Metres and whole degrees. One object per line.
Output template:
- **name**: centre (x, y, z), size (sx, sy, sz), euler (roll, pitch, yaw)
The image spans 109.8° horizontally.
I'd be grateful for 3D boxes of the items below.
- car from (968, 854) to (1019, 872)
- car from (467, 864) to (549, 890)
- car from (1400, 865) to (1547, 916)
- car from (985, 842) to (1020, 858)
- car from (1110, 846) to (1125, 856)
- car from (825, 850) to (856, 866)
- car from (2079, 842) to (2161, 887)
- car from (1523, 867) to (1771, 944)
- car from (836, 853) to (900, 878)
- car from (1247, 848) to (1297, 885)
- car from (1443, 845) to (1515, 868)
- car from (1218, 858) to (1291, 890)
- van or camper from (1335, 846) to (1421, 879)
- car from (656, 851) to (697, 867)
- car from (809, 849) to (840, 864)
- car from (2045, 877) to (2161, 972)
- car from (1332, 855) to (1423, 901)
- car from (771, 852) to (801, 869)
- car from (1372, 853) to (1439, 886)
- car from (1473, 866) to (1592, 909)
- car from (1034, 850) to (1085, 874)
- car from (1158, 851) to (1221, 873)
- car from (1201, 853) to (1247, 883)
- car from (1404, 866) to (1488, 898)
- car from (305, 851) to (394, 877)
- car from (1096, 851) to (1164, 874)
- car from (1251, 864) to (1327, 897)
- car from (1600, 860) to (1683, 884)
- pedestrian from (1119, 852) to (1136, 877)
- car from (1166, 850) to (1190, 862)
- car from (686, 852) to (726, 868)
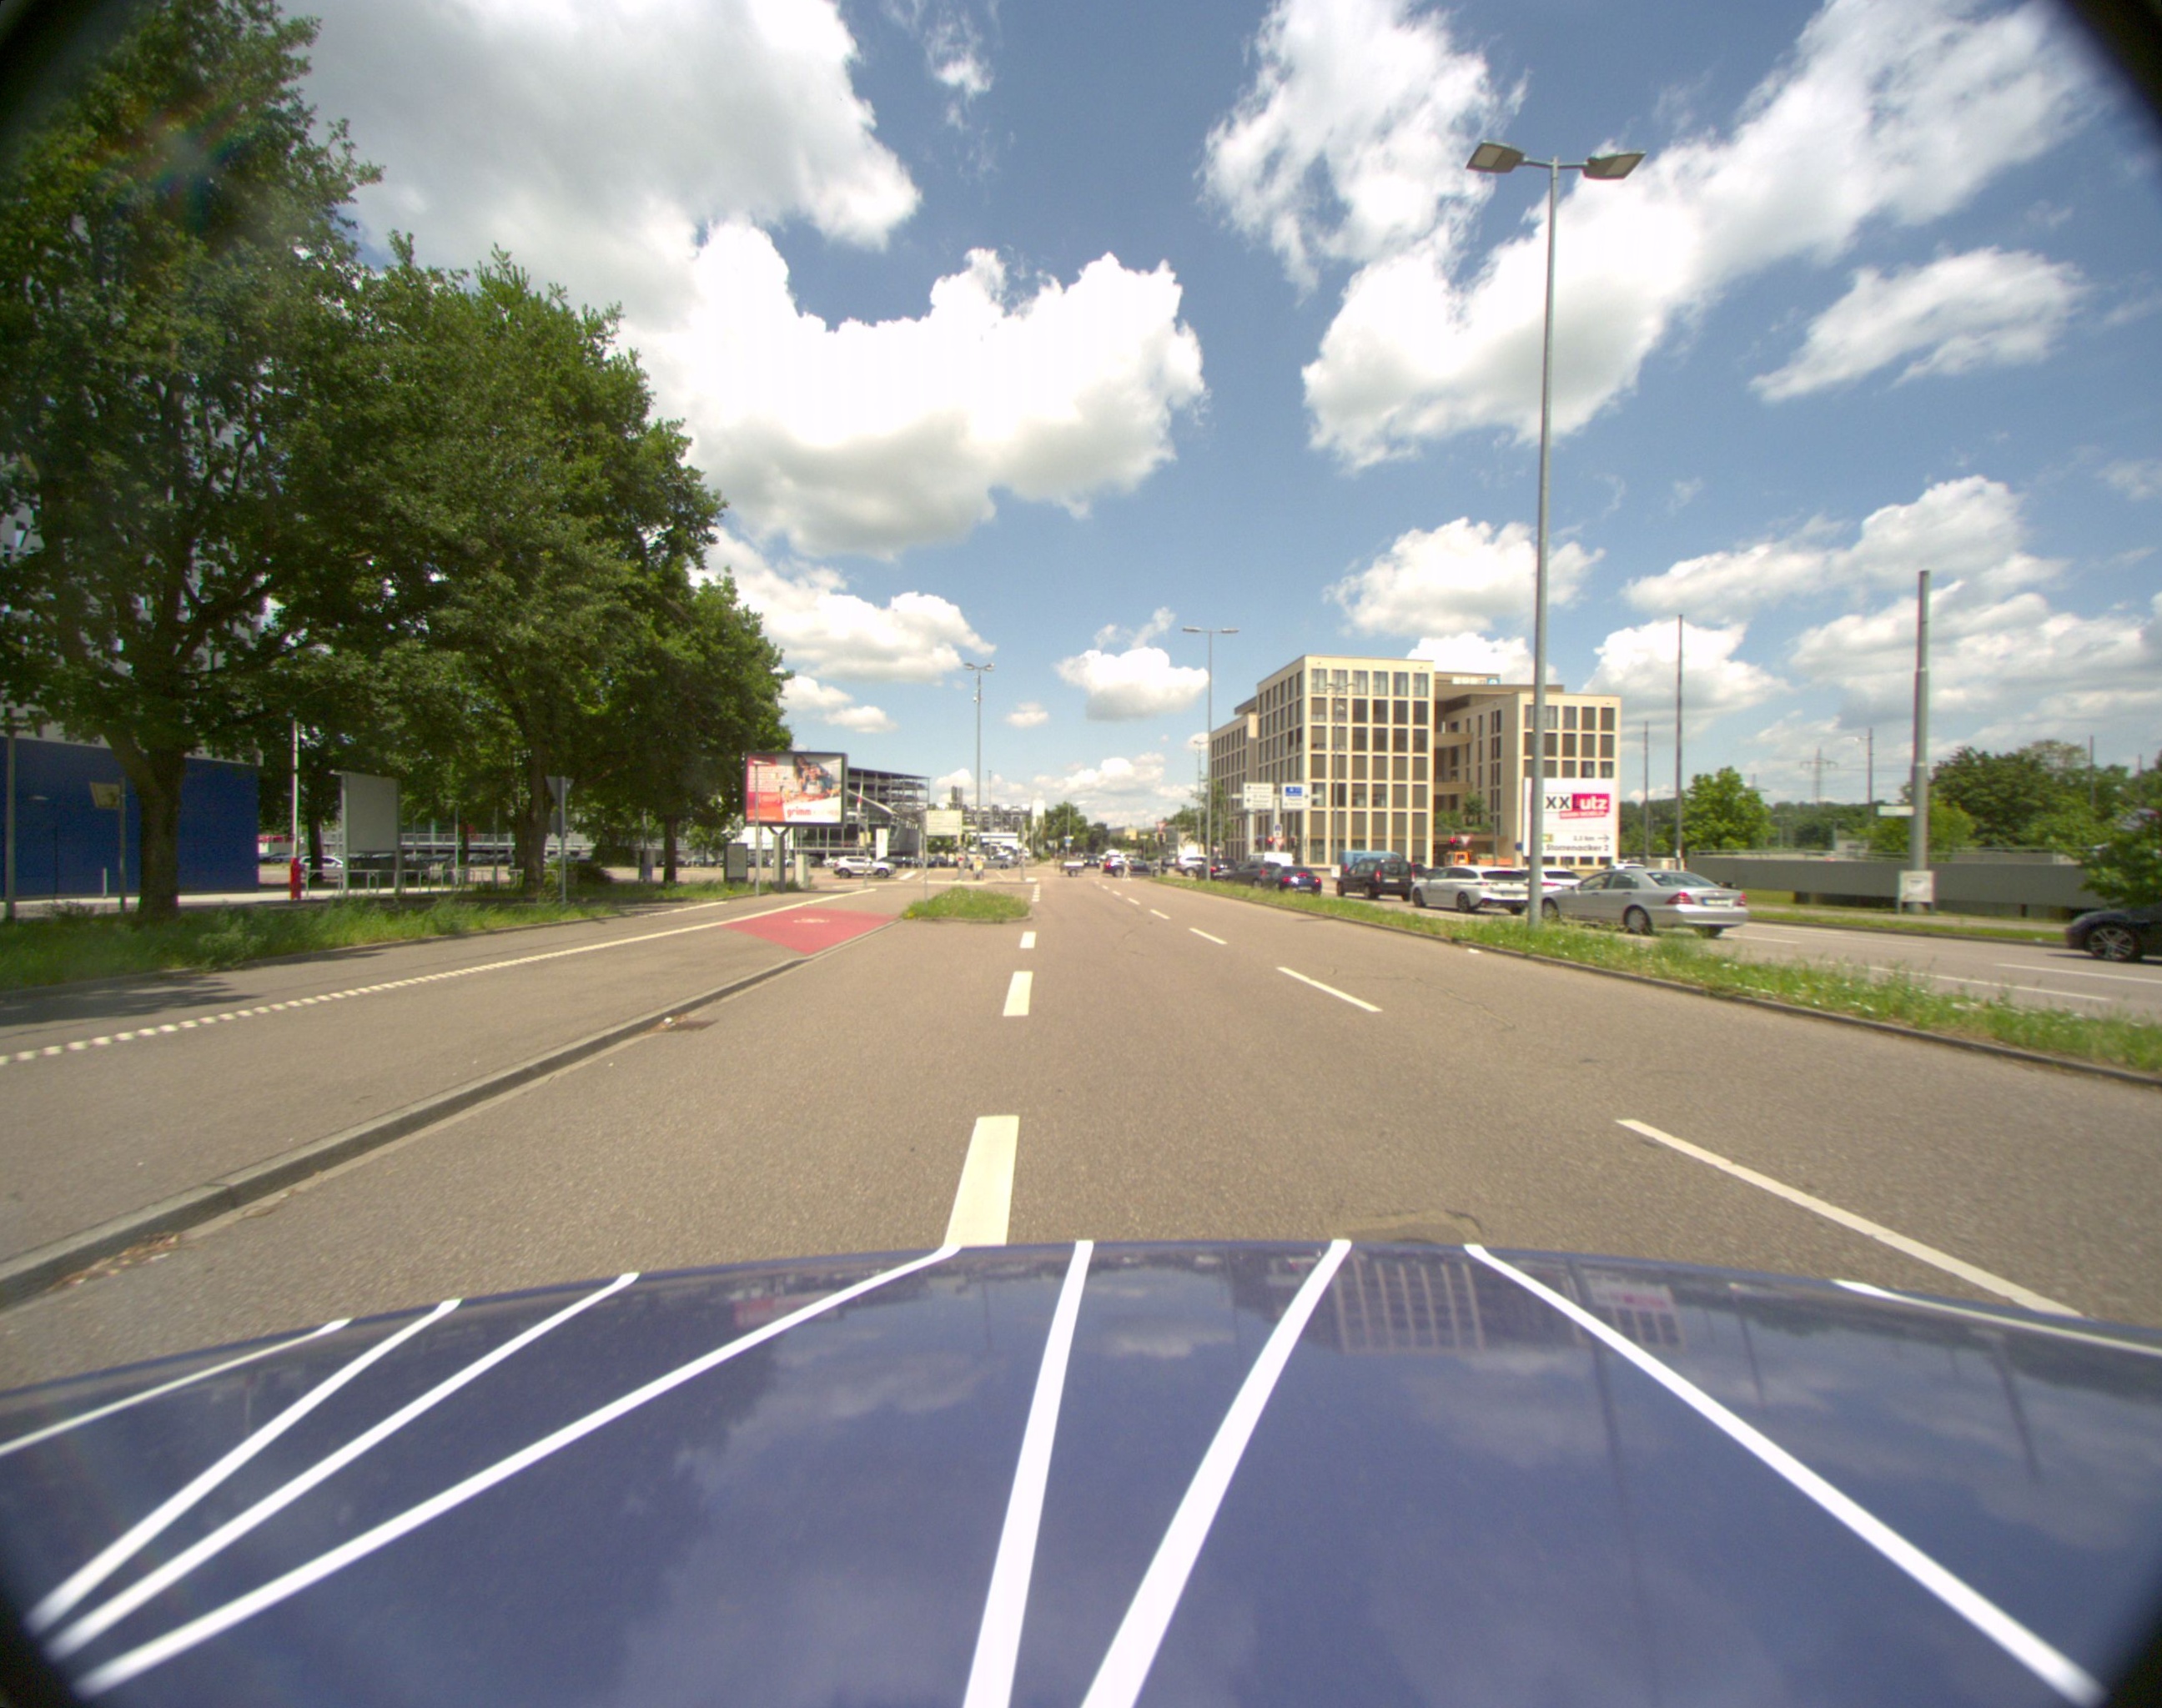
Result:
- **car**: centre (-8.477, 0.855, 73.144), size (4.702, 1.622, 1.998), euler (1, 0, -11)
- **car**: centre (-38.830, 1.540, 51.569), size (4.002, 1.681, 1.856), euler (1, 0, -15)
- **car**: centre (11.945, 1.052, 23.574), size (1.797, 1.393, 4.844), euler (1, -1, -3)
- **car**: centre (-8.998, -0.460, 87.030), size (3.999, 1.772, 1.999), euler (1, 0, -6)
- **car**: centre (6.398, -0.577, 133.938), size (2.290, 1.708, 4.481), euler (1, 1, -2)
- **car**: centre (-25.330, 0.403, 80.216), size (1.841, 1.564, 4.001), euler (1, 0, 2)
- **car**: centre (45.121, 0.445, 31.215), size (1.856, 1.822, 4.672), euler (1, 0, -6)
- **car**: centre (12.247, 1.036, 16.934), size (1.797, 1.409, 4.673), euler (2, -1, -4)
- **car**: centre (-15.568, 0.818, 55.718), size (4.191, 1.718, 1.861), euler (0, 3, -7)
- **car**: centre (11.056, 0.740, 44.226), size (1.862, 2.031, 3.576), euler (1, -1, -2)
- **car**: centre (44.346, 0.320, 84.850), size (6.530, 2.314, 2.854), euler (1, -2, 0)
- **car**: centre (8.845, 0.981, 39.076), size (1.800, 1.551, 3.763), euler (1, -1, -22)
- **van or camper**: centre (22.833, 0.651, 58.600), size (5.845, 2.367, 2.000), euler (1, 0, 1)
- **car**: centre (-41.557, 0.498, 78.139), size (1.795, 1.543, 4.002), euler (1, 0, 6)
- **car**: centre (-27.622, 0.310, 82.051), size (1.841, 1.564, 4.001), euler (1, 0, 2)
- **car**: centre (17.960, 1.138, 11.393), size (1.624, 1.461, 4.115), euler (1, 0, -5)
- **car**: centre (11.843, 0.923, 30.640), size (1.797, 1.691, 4.226), euler (1, -1, -3)
- **car**: centre (-30.812, 0.656, 79.423), size (1.862, 1.718, 3.758), euler (0, 0, -4)
- **car**: centre (17.558, 0.832, 41.272), size (1.797, 1.691, 3.870), euler (1, -1, -3)
- **car**: centre (16.876, 1.200, 28.672), size (1.624, 1.464, 4.357), euler (1, -1, -4)
- **car**: centre (-1.654, 0.598, 57.252), size (3.759, 1.718, 1.671), euler (0, 3, -7)
- **car**: centre (8.765, 0.595, 61.625), size (4.755, 1.718, 1.862), euler (0, 1, -7)
- **car**: centre (8.248, 0.784, 44.188), size (1.796, 1.635, 4.170), euler (1, -1, -2)
- **car**: centre (16.884, 1.253, 35.427), size (1.623, 1.383, 4.583), euler (1, -1, -1)
- **car**: centre (-49.598, 0.701, 51.602), size (4.000, 1.681, 1.857), euler (1, 0, -8)
- **car**: centre (3.706, 0.619, 57.771), size (4.821, 1.571, 1.998), euler (-1, 1, -7)
- **car**: centre (8.668, 1.080, 32.036), size (1.797, 1.243, 4.306), euler (1, -1, -3)
- **car**: centre (42.968, 1.374, 58.317), size (5.025, 1.718, 1.862), euler (1, 1, -3)
- **pedestrian**: centre (3.122, 0.707, 51.321), size (0.841, 1.642, 0.970), euler (0, 1, -19)
- **car**: centre (14.129, 0.280, 110.408), size (1.858, 1.718, 4.190), euler (2, 1, 33)
- **car**: centre (-38.663, 0.618, 78.395), size (1.795, 1.543, 4.002), euler (1, 0, 6)
